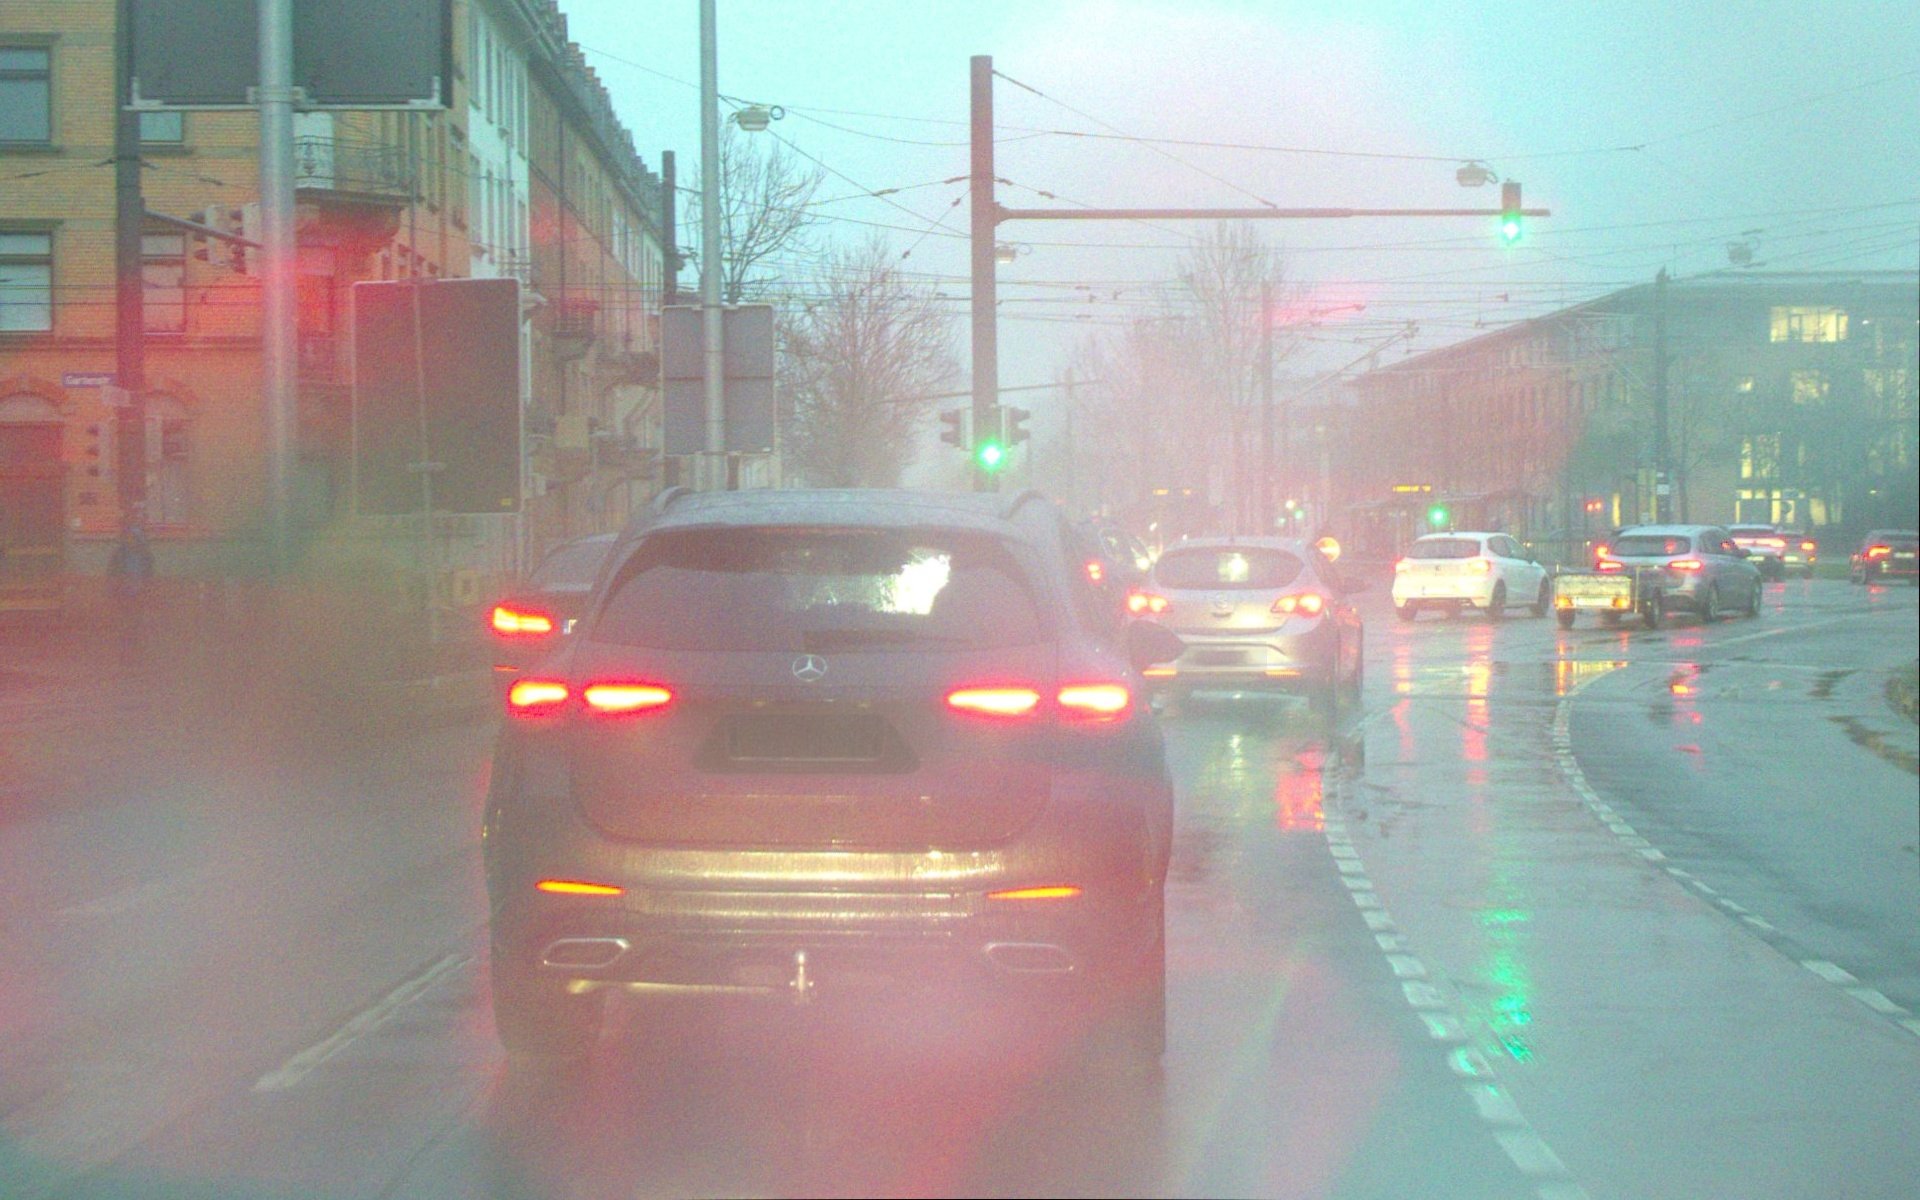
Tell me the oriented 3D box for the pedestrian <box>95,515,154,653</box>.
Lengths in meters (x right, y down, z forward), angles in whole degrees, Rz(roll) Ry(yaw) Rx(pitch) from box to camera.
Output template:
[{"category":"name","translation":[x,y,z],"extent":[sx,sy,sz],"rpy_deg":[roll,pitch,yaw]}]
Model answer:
[{"category":"pedestrian","translation":[-10.751,-0.207,44.237],"extent":[0.467,1.766,0.628],"rpy_deg":[0,1,19]}]

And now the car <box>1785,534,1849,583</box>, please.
[{"category":"car","translation":[26.344,-1.286,105.760],"extent":[1.746,1.454,3.524],"rpy_deg":[-1,1,12]}]

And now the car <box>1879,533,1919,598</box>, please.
[{"category":"car","translation":[24.733,-0.914,89.040],"extent":[1.746,1.606,3.998],"rpy_deg":[-1,1,15]}]

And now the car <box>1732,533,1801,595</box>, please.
[{"category":"car","translation":[22.163,-1.000,94.437],"extent":[1.746,1.606,3.998],"rpy_deg":[-1,1,15]}]

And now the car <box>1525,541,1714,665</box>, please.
[{"category":"car","translation":[10.126,0.017,52.573],"extent":[1.996,1.759,3.995],"rpy_deg":[0,1,24]}]

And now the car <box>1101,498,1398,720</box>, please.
[{"category":"car","translation":[2.558,0.026,29.493],"extent":[1.995,1.759,3.998],"rpy_deg":[-1,1,13]}]

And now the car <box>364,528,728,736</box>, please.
[{"category":"car","translation":[-2.988,0.182,25.680],"extent":[1.994,1.393,4.000],"rpy_deg":[-1,1,3]}]

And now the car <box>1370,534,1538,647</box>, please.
[{"category":"car","translation":[8.204,-0.183,56.842],"extent":[1.995,1.759,3.996],"rpy_deg":[0,1,19]}]

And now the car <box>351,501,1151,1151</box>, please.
[{"category":"car","translation":[-0.565,0.521,10.672],"extent":[1.991,1.610,4.000],"rpy_deg":[-1,1,-1]}]
